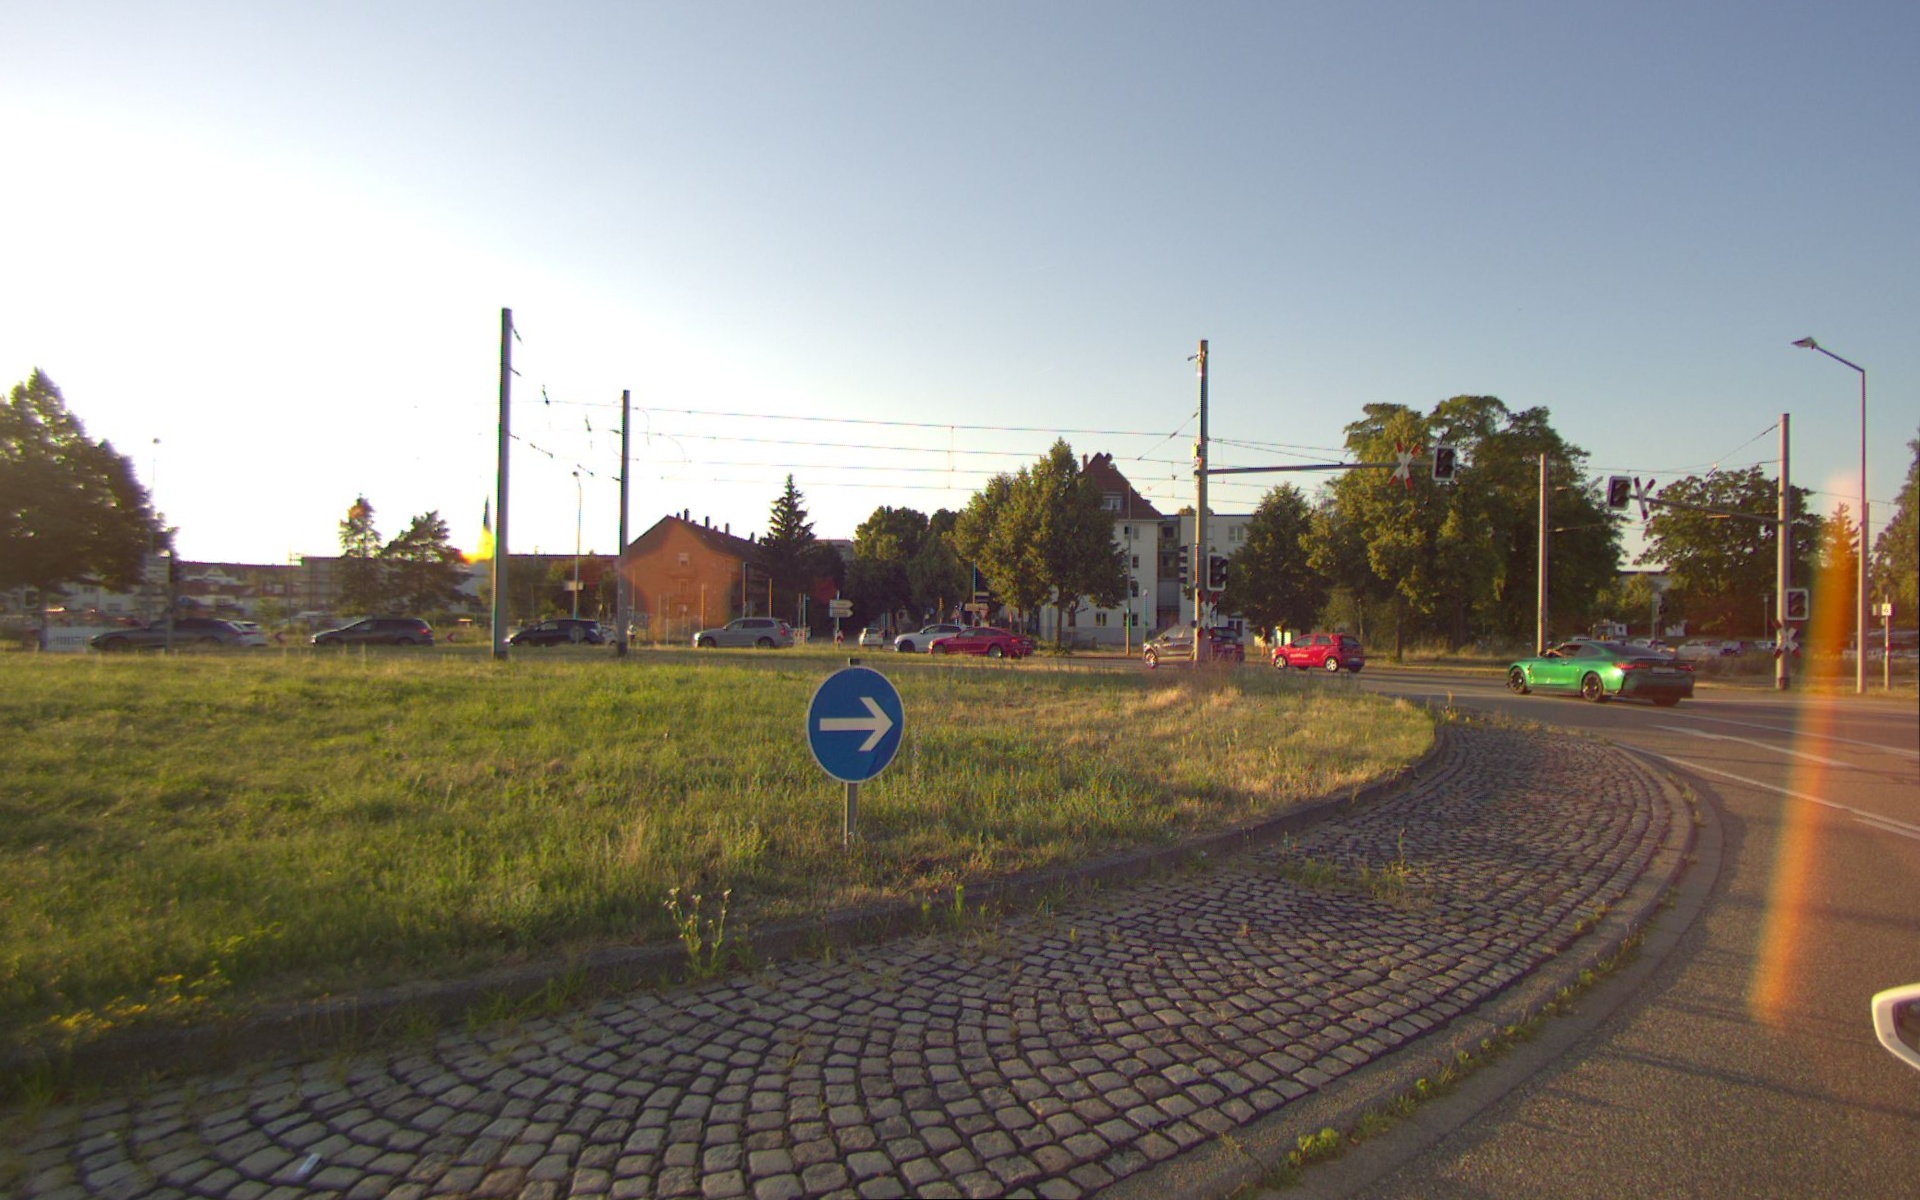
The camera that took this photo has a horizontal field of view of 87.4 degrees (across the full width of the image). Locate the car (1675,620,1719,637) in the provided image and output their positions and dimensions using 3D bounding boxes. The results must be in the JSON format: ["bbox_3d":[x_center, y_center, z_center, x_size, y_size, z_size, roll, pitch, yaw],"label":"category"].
[{"bbox_3d":[93.201,3.584,127.015,4.033,2.040,2.001,1,-1,4],"label":"car"}]

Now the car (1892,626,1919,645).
[{"bbox_3d":[107.448,4.023,112.580,3.919,2.040,2.001,1,-1,11],"label":"car"}]

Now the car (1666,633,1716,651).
[{"bbox_3d":[73.156,4.183,100.561,3.934,1.684,1.994,0,-1,35],"label":"car"}]

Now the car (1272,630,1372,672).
[{"bbox_3d":[14.201,1.976,39.553,1.625,1.519,3.460,1,-1,-32],"label":"car"}]

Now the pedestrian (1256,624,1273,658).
[{"bbox_3d":[17.439,2.320,57.514,0.614,1.918,0.662,2,0,-35],"label":"pedestrian"}]

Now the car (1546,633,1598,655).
[{"bbox_3d":[49.407,3.540,81.216,1.960,1.625,4.002,1,-1,3],"label":"car"}]

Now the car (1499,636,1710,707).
[{"bbox_3d":[14.960,1.599,23.701,1.960,1.389,4.735,1,-1,1],"label":"car"}]

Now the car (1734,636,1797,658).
[{"bbox_3d":[64.008,3.711,79.917,1.960,1.625,4.002,1,-1,3],"label":"car"}]

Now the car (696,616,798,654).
[{"bbox_3d":[-10.543,1.728,49.799,4.535,1.759,1.897,1,-1,8],"label":"car"}]

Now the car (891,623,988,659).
[{"bbox_3d":[-1.032,2.096,51.704,4.620,1.728,2.001,1,-1,12],"label":"car"}]

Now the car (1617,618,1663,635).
[{"bbox_3d":[86.250,3.377,127.424,4.505,2.040,2.001,1,-1,5],"label":"car"}]

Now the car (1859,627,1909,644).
[{"bbox_3d":[108.028,4.122,117.432,3.919,1.840,2.001,1,-1,5],"label":"car"}]

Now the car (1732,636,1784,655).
[{"bbox_3d":[77.341,4.414,97.400,3.938,1.684,1.894,0,-1,39],"label":"car"}]

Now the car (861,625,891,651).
[{"bbox_3d":[-6.257,2.834,75.120,1.961,1.840,4.000,1,-1,-1],"label":"car"}]

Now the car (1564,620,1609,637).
[{"bbox_3d":[79.576,3.646,127.609,4.507,2.040,2.000,1,-1,0],"label":"car"}]

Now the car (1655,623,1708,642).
[{"bbox_3d":[80.224,3.641,111.725,4.507,2.040,2.000,1,-1,0],"label":"car"}]

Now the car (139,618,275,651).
[{"bbox_3d":[-33.578,1.528,44.944,4.397,1.385,2.102,1,-1,-19],"label":"car"}]

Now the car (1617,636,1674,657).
[{"bbox_3d":[54.749,3.697,80.324,1.960,1.625,4.002,1,-1,3],"label":"car"}]

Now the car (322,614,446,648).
[{"bbox_3d":[-24.310,1.312,42.561,4.323,1.394,1.989,1,-1,-24],"label":"car"}]

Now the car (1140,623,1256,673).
[{"bbox_3d":[8.191,1.628,34.918,1.870,1.605,3.974,1,-1,-26],"label":"car"}]

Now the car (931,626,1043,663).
[{"bbox_3d":[1.101,1.808,42.007,4.424,1.410,1.889,0,-1,36],"label":"car"}]

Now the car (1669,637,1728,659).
[{"bbox_3d":[59.509,3.845,81.024,1.960,1.625,4.002,1,-1,3],"label":"car"}]

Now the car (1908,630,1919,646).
[{"bbox_3d":[105.580,4.106,108.703,1.971,1.728,3.979,1,-1,-22],"label":"car"}]

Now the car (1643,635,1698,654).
[{"bbox_3d":[69.205,4.324,97.917,3.919,1.684,1.904,1,-1,5],"label":"car"}]

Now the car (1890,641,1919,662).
[{"bbox_3d":[76.345,4.083,79.460,1.960,1.625,4.002,1,-1,3],"label":"car"}]

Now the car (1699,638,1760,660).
[{"bbox_3d":[61.628,3.907,80.547,1.960,1.625,4.002,1,-1,3],"label":"car"}]

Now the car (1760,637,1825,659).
[{"bbox_3d":[66.362,3.784,80.156,1.960,1.625,4.002,1,-1,3],"label":"car"}]

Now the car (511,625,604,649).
[{"bbox_3d":[-19.580,1.806,48.984,3.928,1.119,1.687,1,-1,-10],"label":"car"}]

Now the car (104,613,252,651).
[{"bbox_3d":[-30.674,1.254,39.560,4.299,1.394,1.985,1,-1,-29],"label":"car"}]

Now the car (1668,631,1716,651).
[{"bbox_3d":[75.592,4.216,103.746,3.934,2.040,1.994,0,-1,35],"label":"car"}]
